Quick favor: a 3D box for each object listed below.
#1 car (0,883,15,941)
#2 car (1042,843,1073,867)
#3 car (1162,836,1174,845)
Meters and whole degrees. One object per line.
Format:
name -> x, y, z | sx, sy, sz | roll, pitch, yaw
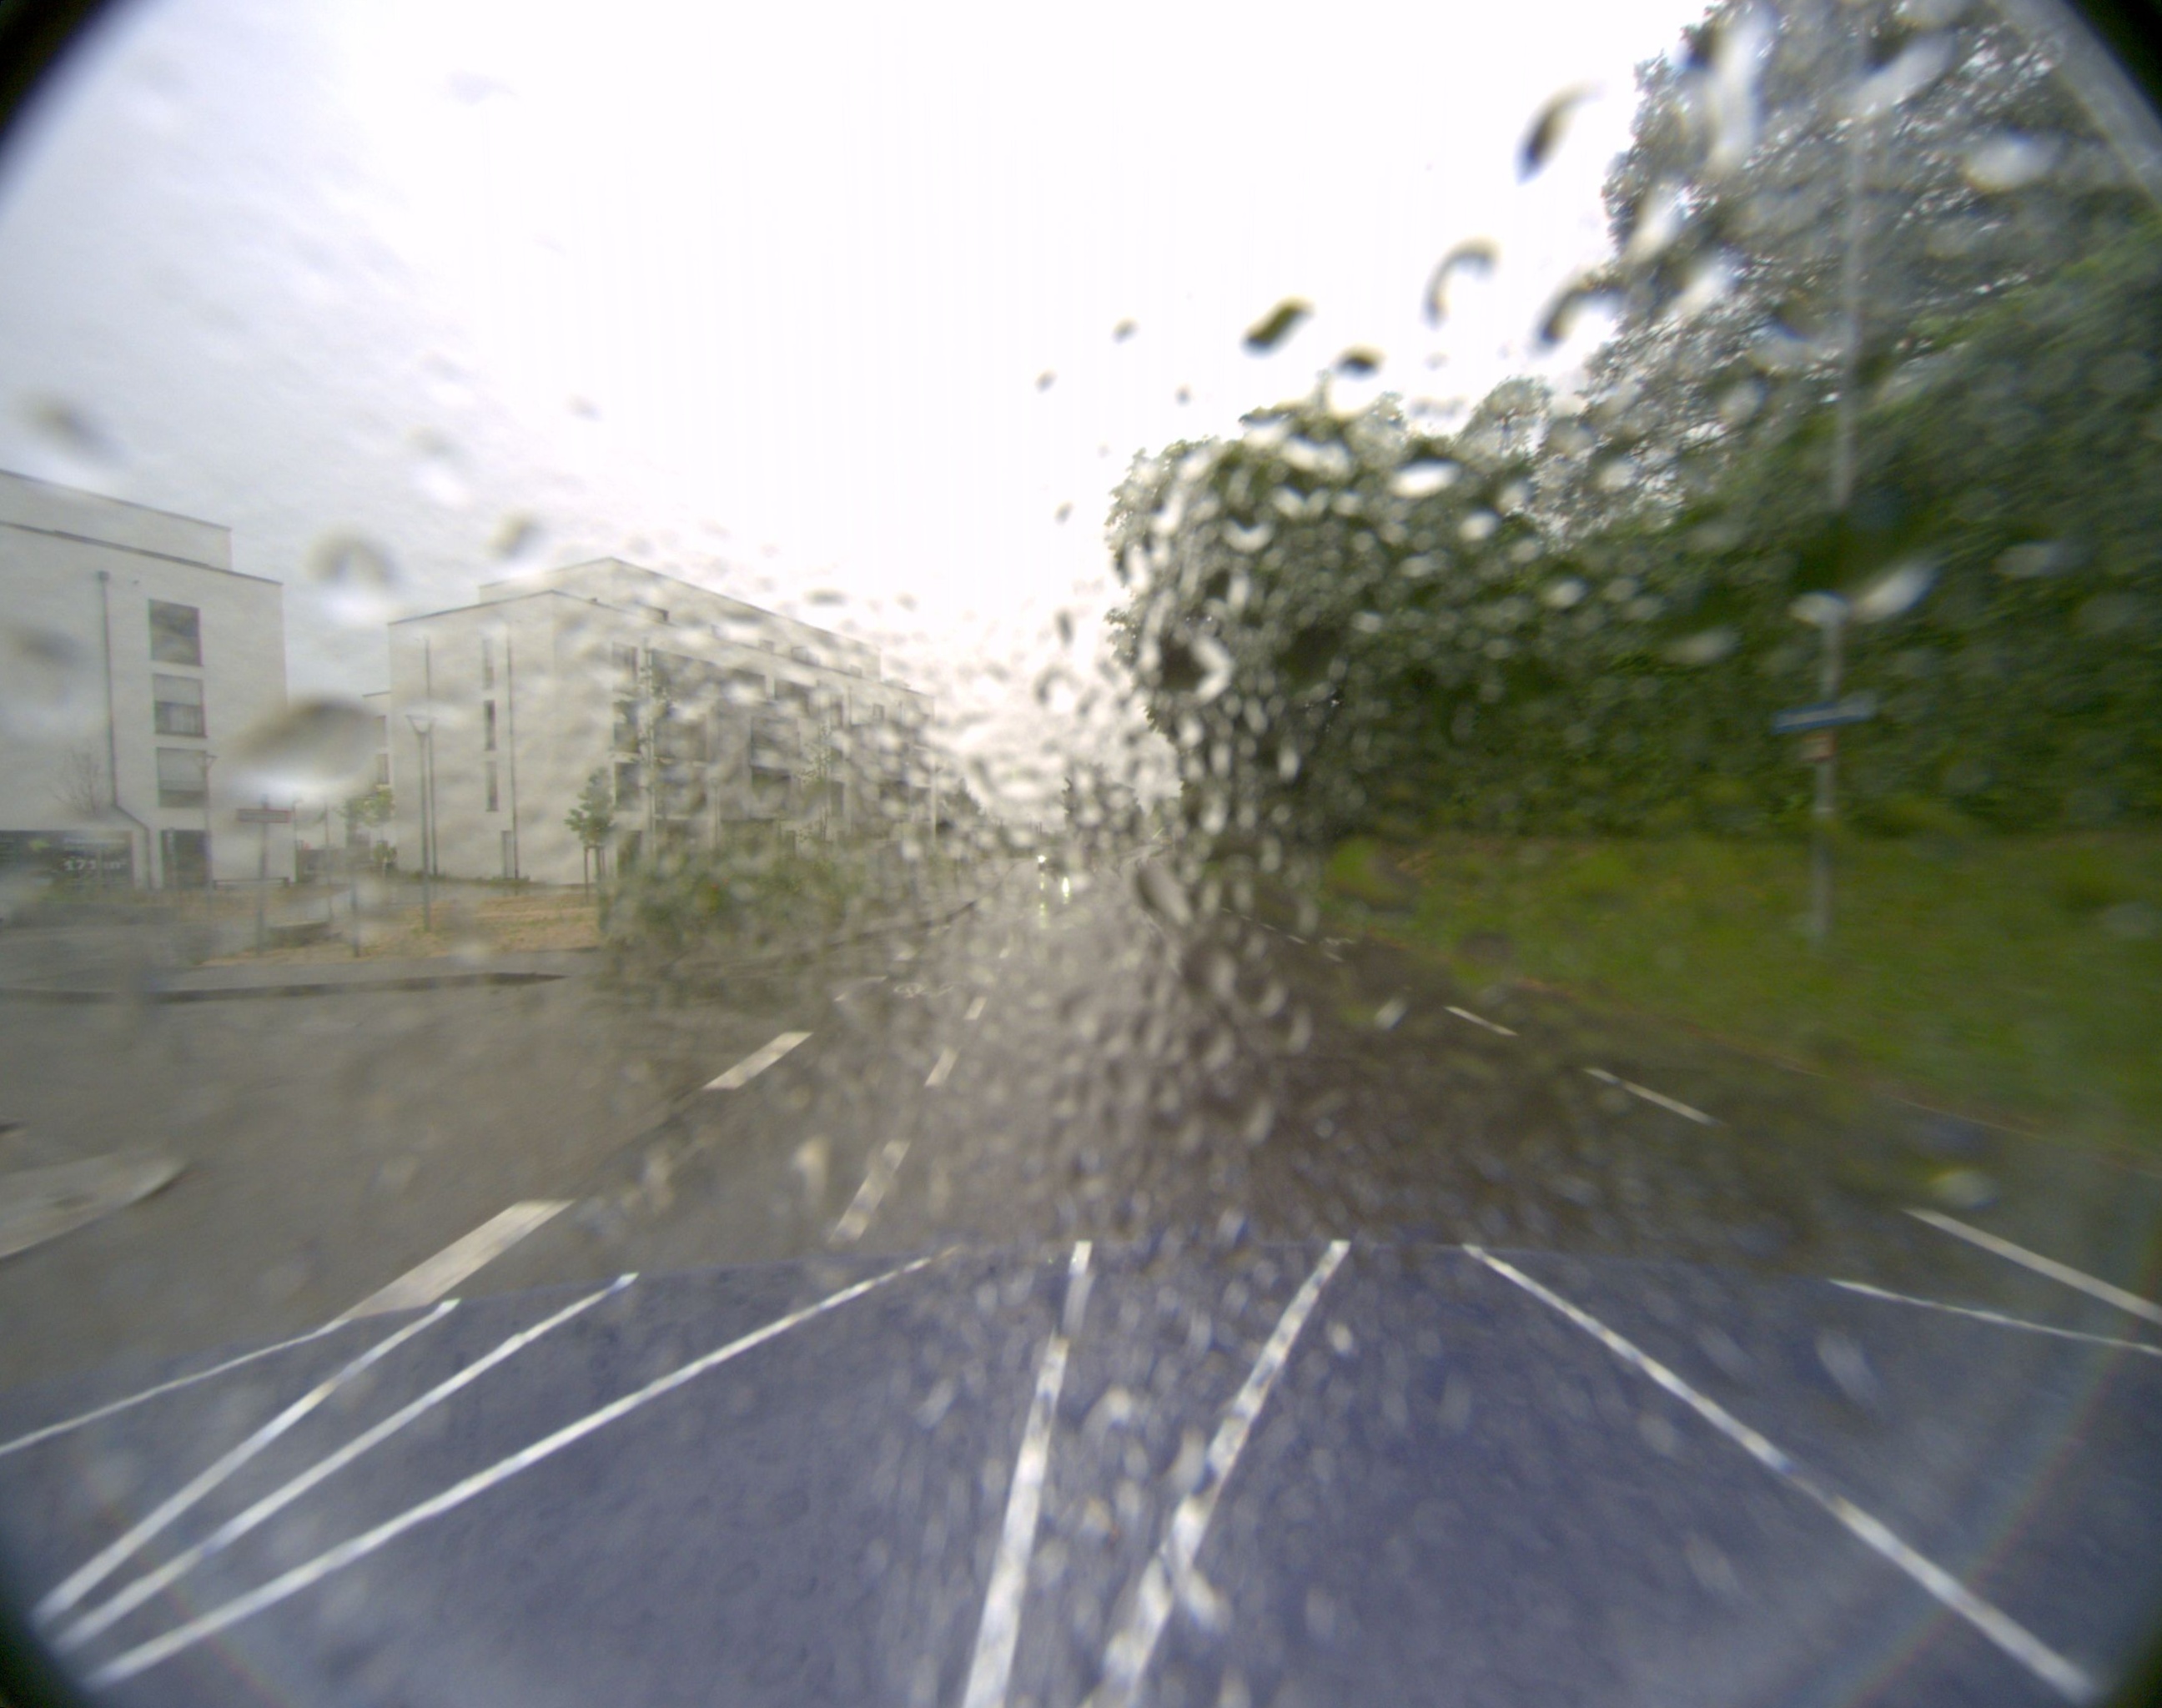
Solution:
car -> -28.533, 1.590, 17.787 | 1.718, 1.433, 3.709 | -1, 4, 19
car -> -1.459, 0.072, 48.072 | 1.764, 1.477, 3.791 | 0, 0, 1
car -> 13.969, -2.244, 121.890 | 1.575, 1.402, 3.476 | 1, 2, 10
